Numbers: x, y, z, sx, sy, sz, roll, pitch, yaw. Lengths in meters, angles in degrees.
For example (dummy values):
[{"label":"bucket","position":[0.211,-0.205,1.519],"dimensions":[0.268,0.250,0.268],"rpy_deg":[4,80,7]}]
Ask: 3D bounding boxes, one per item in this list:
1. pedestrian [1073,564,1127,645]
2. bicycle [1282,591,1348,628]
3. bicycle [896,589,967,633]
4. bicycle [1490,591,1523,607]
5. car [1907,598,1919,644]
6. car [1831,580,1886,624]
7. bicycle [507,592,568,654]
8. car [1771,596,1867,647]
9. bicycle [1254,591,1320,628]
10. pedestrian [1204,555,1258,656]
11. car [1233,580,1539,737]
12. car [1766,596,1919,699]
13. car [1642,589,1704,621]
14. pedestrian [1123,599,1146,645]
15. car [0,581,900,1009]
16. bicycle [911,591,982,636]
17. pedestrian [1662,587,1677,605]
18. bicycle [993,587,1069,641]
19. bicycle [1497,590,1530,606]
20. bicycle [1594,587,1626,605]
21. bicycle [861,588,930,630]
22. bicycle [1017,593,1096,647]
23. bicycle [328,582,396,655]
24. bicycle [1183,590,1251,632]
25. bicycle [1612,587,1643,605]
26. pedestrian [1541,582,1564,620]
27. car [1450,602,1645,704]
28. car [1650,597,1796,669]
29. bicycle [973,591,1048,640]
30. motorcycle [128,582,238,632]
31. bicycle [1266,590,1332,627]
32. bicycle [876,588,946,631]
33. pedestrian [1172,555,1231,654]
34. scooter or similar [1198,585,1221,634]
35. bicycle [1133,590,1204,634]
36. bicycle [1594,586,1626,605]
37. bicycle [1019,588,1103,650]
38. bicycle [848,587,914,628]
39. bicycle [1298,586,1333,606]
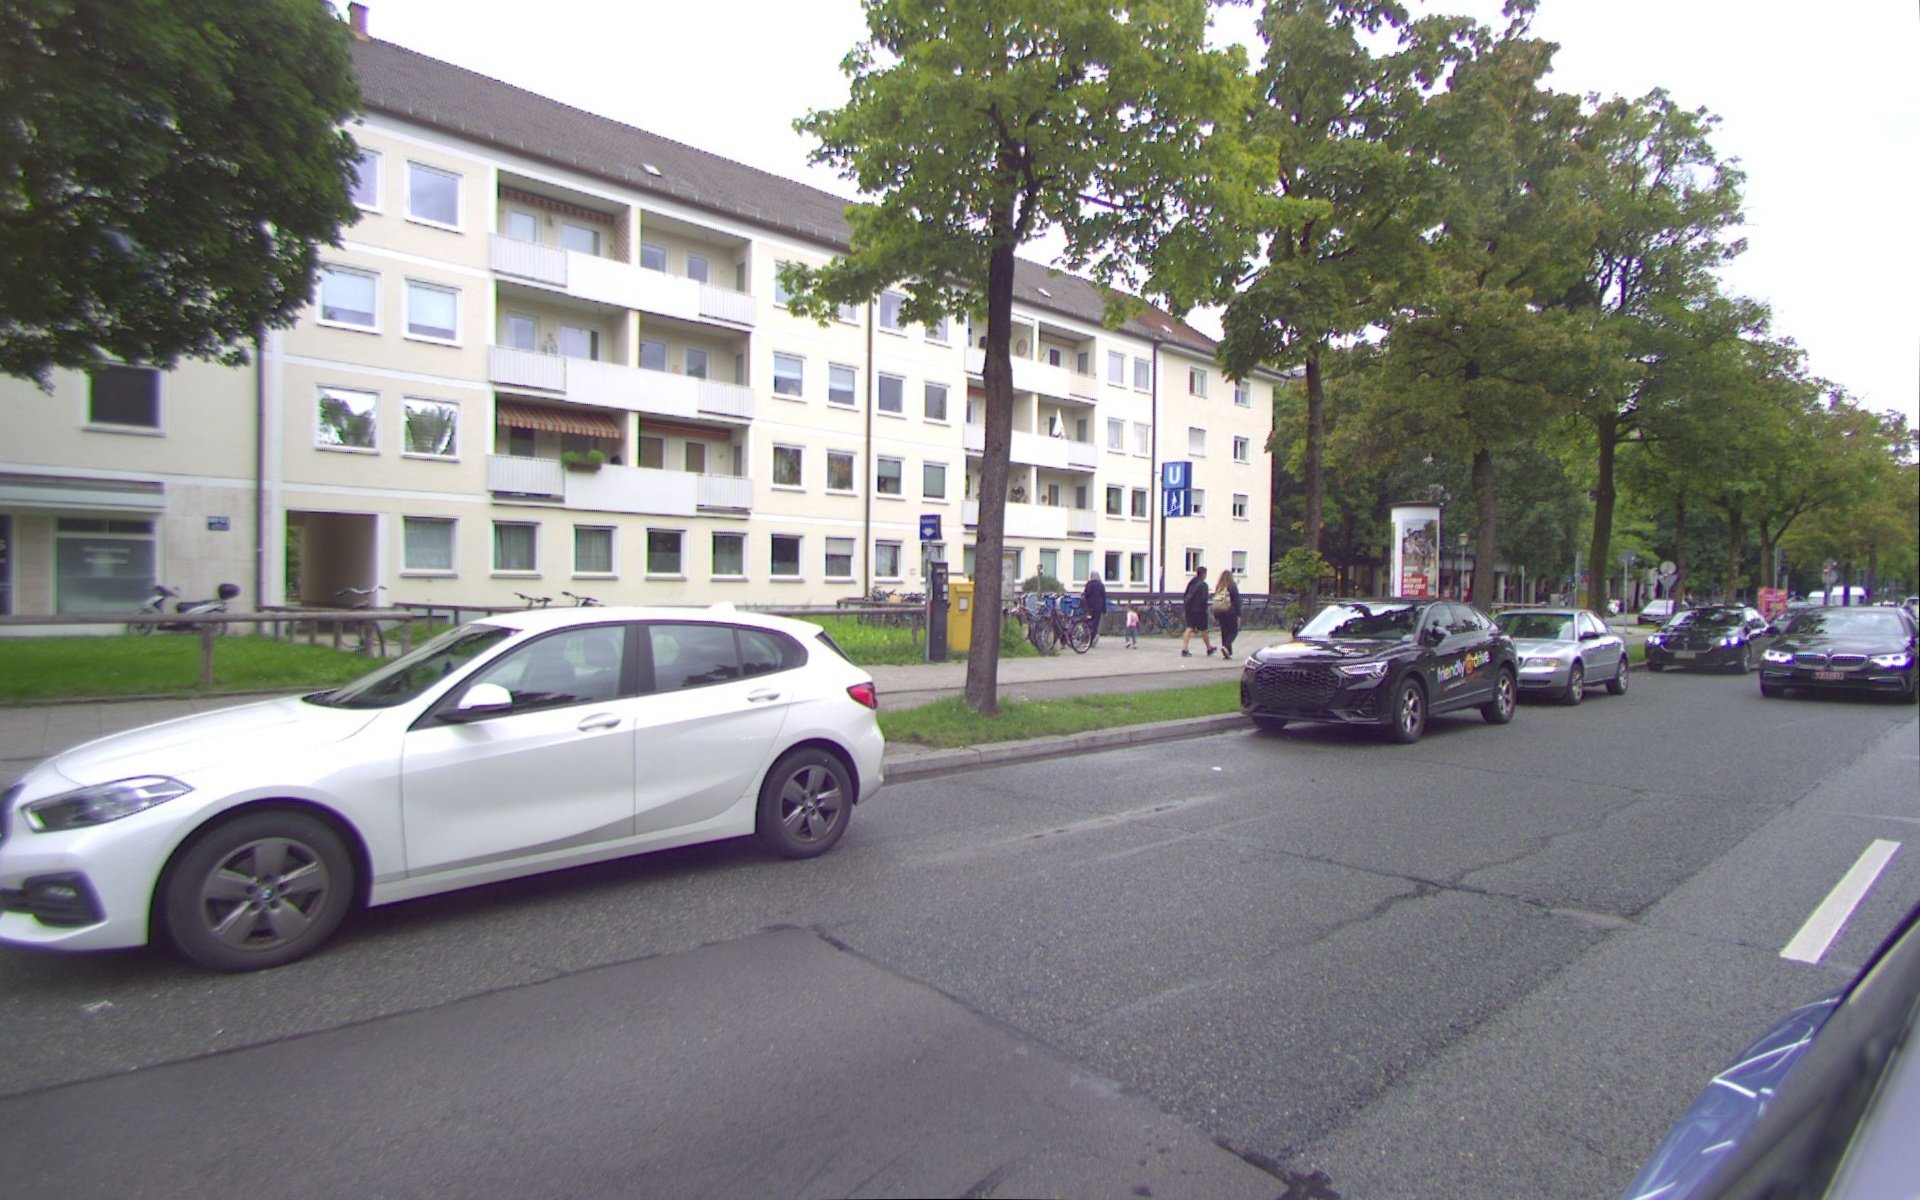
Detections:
[{"label":"pedestrian","position":[2.999,0.083,21.785],"dimensions":[0.823,1.702,0.837],"rpy_deg":[1,1,-21]},{"label":"bicycle","position":[10.880,0.267,31.044],"dimensions":[1.876,1.041,0.426],"rpy_deg":[3,2,42]},{"label":"bicycle","position":[-0.686,0.265,24.642],"dimensions":[1.850,1.041,0.432],"rpy_deg":[0,1,-41]},{"label":"bicycle","position":[39.752,-0.097,73.690],"dimensions":[0.447,1.134,2.079],"rpy_deg":[1,1,-41]},{"label":"car","position":[33.125,0.678,33.670],"dimensions":[4.586,1.461,1.887],"rpy_deg":[0,-1,-41]},{"label":"car","position":[58.440,0.125,65.789],"dimensions":[5.902,2.691,1.976],"rpy_deg":[0,-1,-42]},{"label":"bicycle","position":[-7.122,0.356,17.009],"dimensions":[0.425,0.986,1.881],"rpy_deg":[0,0,-39]},{"label":"car","position":[27.127,0.638,31.913],"dimensions":[4.042,1.484,1.685],"rpy_deg":[0,0,-41]},{"label":"bicycle","position":[9.741,0.269,30.224],"dimensions":[0.425,1.041,1.879],"rpy_deg":[0,2,-44]},{"label":"pedestrian","position":[5.253,0.097,19.601],"dimensions":[0.887,1.913,0.589],"rpy_deg":[0,1,-42]},{"label":"car","position":[5.179,0.584,12.047],"dimensions":[4.201,1.552,1.719],"rpy_deg":[0,0,-41]},{"label":"car","position":[14.817,0.676,16.509],"dimensions":[4.586,1.461,1.798],"rpy_deg":[0,-1,-41]},{"label":"car","position":[40.234,0.260,57.072],"dimensions":[4.122,1.654,1.826],"rpy_deg":[0,2,-39]},{"label":"pedestrian","position":[3.737,0.462,21.705],"dimensions":[0.401,0.961,0.435],"rpy_deg":[1,1,1]},{"label":"car","position":[-2.436,0.693,5.495],"dimensions":[4.066,1.484,1.684],"rpy_deg":[0,-1,-42]},{"label":"bicycle","position":[-0.304,0.320,24.322],"dimensions":[1.850,1.041,0.432],"rpy_deg":[0,1,-41]},{"label":"pedestrian","position":[68.580,-0.380,97.857],"dimensions":[0.755,1.719,0.875],"rpy_deg":[0,2,-27]},{"label":"bicycle","position":[1.558,0.303,21.899],"dimensions":[1.850,1.115,0.432],"rpy_deg":[0,1,-41]},{"label":"bicycle","position":[41.217,-0.168,75.382],"dimensions":[0.447,1.134,2.079],"rpy_deg":[1,1,-41]},{"label":"bicycle","position":[57.191,-0.363,89.089],"dimensions":[0.638,1.551,2.312],"rpy_deg":[1,1,-41]},{"label":"bicycle","position":[-1.639,0.225,25.999],"dimensions":[1.850,1.041,0.432],"rpy_deg":[0,1,-41]},{"label":"bicycle","position":[2.000,0.393,20.722],"dimensions":[1.850,1.041,0.432],"rpy_deg":[0,1,-41]},{"label":"bicycle","position":[-8.356,0.239,14.114],"dimensions":[0.548,0.951,1.881],"rpy_deg":[0,0,-39]},{"label":"bicycle","position":[7.054,0.288,27.843],"dimensions":[0.425,1.041,1.879],"rpy_deg":[0,2,-44]},{"label":"bicycle","position":[61.890,-0.357,93.851],"dimensions":[2.298,1.643,0.642],"rpy_deg":[1,1,33]},{"label":"pedestrian","position":[27.886,0.044,47.615],"dimensions":[0.835,1.771,0.640],"rpy_deg":[1,2,-43]},{"label":"car","position":[9.396,0.739,16.048],"dimensions":[4.174,1.403,1.637],"rpy_deg":[0,0,-45]},{"label":"car","position":[17.084,0.676,22.604],"dimensions":[4.102,1.484,1.754],"rpy_deg":[0,0,-40]},{"label":"bicycle","position":[1.138,0.330,22.537],"dimensions":[1.850,1.041,0.432],"rpy_deg":[0,1,-41]},{"label":"motorcycle","position":[-16.912,0.140,22.054],"dimensions":[1.873,1.036,0.605],"rpy_deg":[0,0,-41]},{"label":"bicycle","position":[10.320,0.232,30.854],"dimensions":[1.877,1.041,0.426],"rpy_deg":[3,2,44]},{"label":"bicycle","position":[-1.197,0.233,25.151],"dimensions":[1.850,1.041,0.432],"rpy_deg":[0,1,-41]},{"label":"pedestrian","position":[4.800,0.067,20.119],"dimensions":[0.904,1.913,0.730],"rpy_deg":[0,2,-42]},{"label":"scooter or similar","position":[6.472,0.223,26.271],"dimensions":[0.352,1.215,1.388],"rpy_deg":[1,2,6]},{"label":"bicycle","position":[5.366,0.298,26.169],"dimensions":[0.425,1.041,1.879],"rpy_deg":[0,2,-44]},{"label":"bicycle","position":[57.800,-0.372,90.051],"dimensions":[0.638,1.643,2.312],"rpy_deg":[1,1,-41]},{"label":"bicycle","position":[1.962,0.358,19.477],"dimensions":[1.850,1.147,0.432],"rpy_deg":[1,1,-41]},{"label":"bicycle","position":[-2.101,0.200,27.129],"dimensions":[1.850,1.041,0.432],"rpy_deg":[0,1,-41]},{"label":"bicycle","position":[18.239,-0.217,51.947],"dimensions":[0.448,0.983,1.692],"rpy_deg":[1,1,-44]}]
